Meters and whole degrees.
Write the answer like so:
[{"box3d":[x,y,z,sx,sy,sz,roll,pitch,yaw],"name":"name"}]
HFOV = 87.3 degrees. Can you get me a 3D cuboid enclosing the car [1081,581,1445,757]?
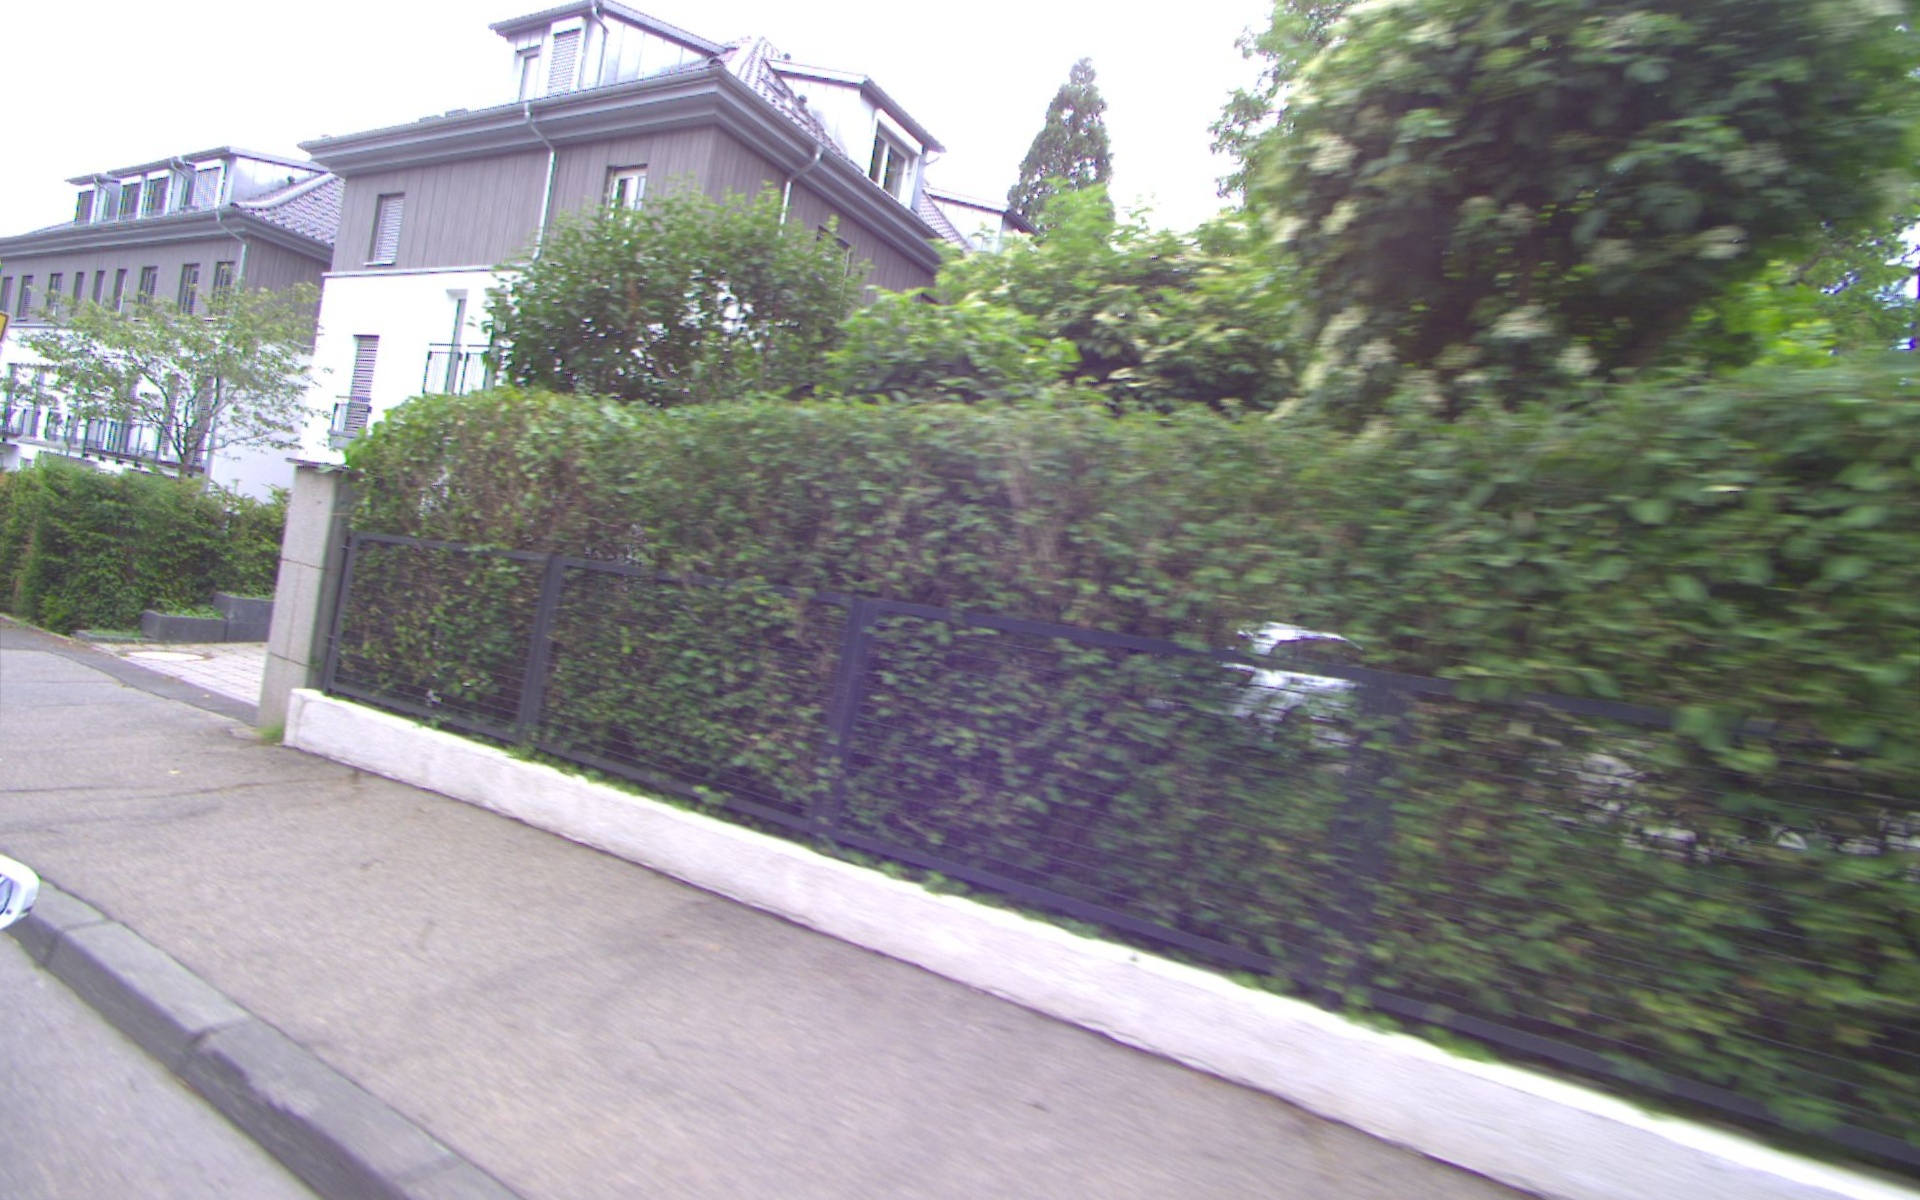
[{"box3d":[3.559,0.828,11.534,3.969,1.481,1.979,9,-1,-39],"name":"car"}]
